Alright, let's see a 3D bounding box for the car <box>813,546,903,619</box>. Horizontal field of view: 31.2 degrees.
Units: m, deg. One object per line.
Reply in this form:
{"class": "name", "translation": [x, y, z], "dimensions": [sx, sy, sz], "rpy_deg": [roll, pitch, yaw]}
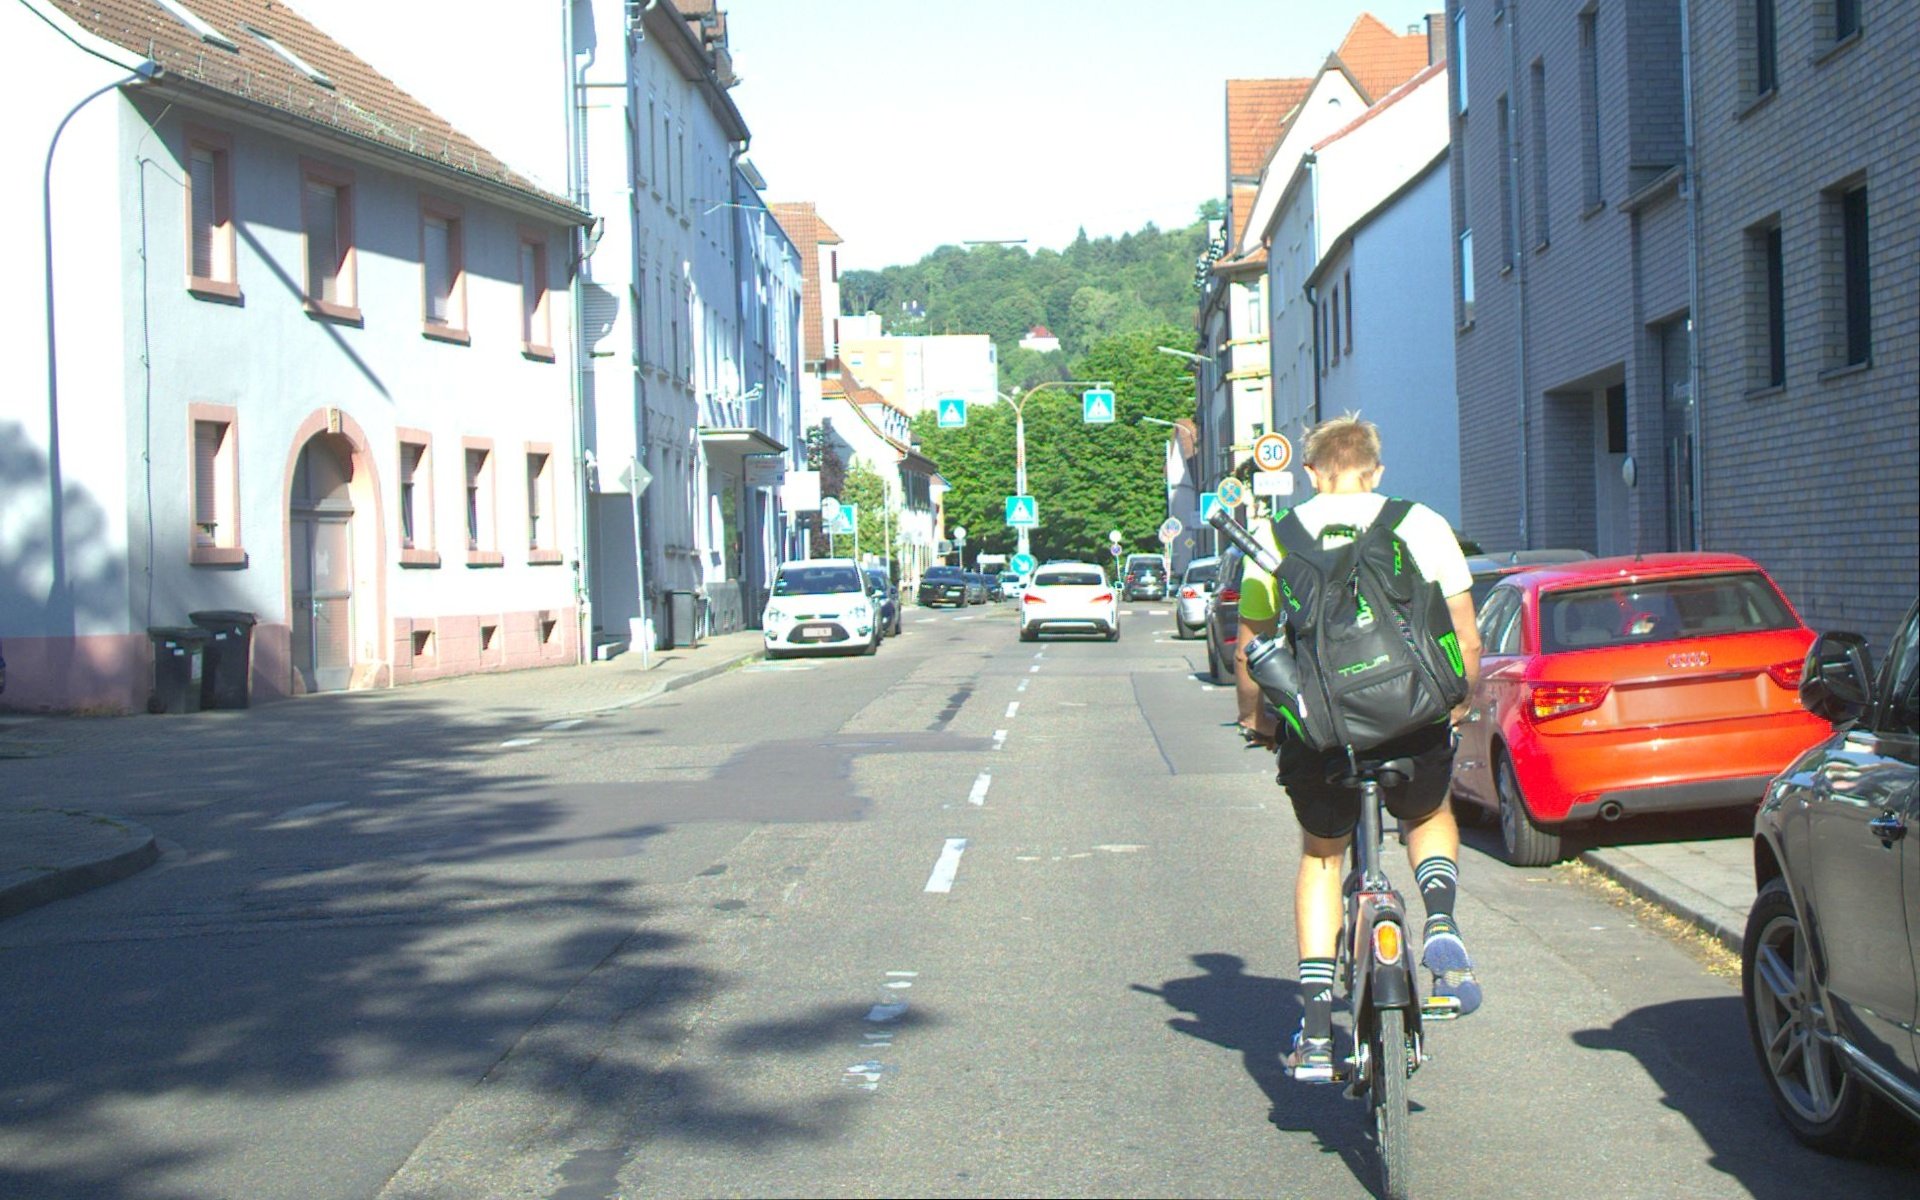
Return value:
{"class": "car", "translation": [-2.198, -0.377, 74.828], "dimensions": [1.731, 1.494, 3.959], "rpy_deg": [-2, 0, 1]}

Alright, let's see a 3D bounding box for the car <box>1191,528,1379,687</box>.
{"class": "car", "translation": [3.789, 0.039, 40.780], "dimensions": [1.855, 1.630, 4.623], "rpy_deg": [-4, 1, 2]}

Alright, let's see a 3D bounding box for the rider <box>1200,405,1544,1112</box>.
{"class": "rider", "translation": [0.953, 0.355, 8.179], "dimensions": [0.653, 1.556, 1.083], "rpy_deg": [1, -1, 0]}

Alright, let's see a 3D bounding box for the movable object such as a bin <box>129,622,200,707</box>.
{"class": "movable object such as a bin", "translation": [-8.402, 0.680, 36.315], "dimensions": [0.598, 0.869, 0.606], "rpy_deg": [-1, 1, 0]}

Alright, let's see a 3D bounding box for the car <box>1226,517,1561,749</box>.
{"class": "car", "translation": [3.403, 0.186, 27.873], "dimensions": [1.993, 1.647, 4.763], "rpy_deg": [-2, 1, -1]}

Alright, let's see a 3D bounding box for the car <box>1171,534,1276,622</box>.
{"class": "car", "translation": [4.881, -0.433, 64.141], "dimensions": [1.741, 1.487, 4.438], "rpy_deg": [-3, 1, 3]}

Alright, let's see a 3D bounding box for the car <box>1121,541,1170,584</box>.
{"class": "car", "translation": [7.576, -1.539, 140.217], "dimensions": [1.818, 1.625, 4.000], "rpy_deg": [-3, 1, 4]}

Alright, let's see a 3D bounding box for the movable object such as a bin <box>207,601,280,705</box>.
{"class": "movable object such as a bin", "translation": [-7.731, 0.566, 37.122], "dimensions": [0.598, 1.090, 0.751], "rpy_deg": [-1, 1, 2]}

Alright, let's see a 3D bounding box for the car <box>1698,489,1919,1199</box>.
{"class": "car", "translation": [2.811, 0.601, 7.190], "dimensions": [1.890, 1.706, 4.773], "rpy_deg": [-2, 1, 5]}

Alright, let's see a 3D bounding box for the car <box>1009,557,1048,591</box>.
{"class": "car", "translation": [3.708, -1.416, 186.565], "dimensions": [1.807, 1.695, 4.192], "rpy_deg": [-4, 1, -2]}

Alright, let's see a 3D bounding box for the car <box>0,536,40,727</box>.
{"class": "car", "translation": [-11.477, 0.263, 33.639], "dimensions": [4.363, 1.788, 1.988], "rpy_deg": [2, 3, 3]}

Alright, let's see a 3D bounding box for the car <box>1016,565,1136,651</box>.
{"class": "car", "translation": [2.089, 0.117, 63.026], "dimensions": [1.993, 1.461, 4.000], "rpy_deg": [-2, 1, 0]}

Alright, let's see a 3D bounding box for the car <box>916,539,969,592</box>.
{"class": "car", "translation": [-0.664, -1.372, 134.735], "dimensions": [1.993, 2.007, 4.000], "rpy_deg": [-1, 1, 0]}

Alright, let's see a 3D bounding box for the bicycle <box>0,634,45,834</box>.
{"class": "bicycle", "translation": [-5.261, 0.699, 17.190], "dimensions": [0.704, 0.999, 1.941], "rpy_deg": [-1, 1, 5]}

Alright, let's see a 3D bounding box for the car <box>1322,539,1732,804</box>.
{"class": "car", "translation": [3.623, 0.392, 22.759], "dimensions": [1.993, 1.500, 4.367], "rpy_deg": [-2, 1, 1]}

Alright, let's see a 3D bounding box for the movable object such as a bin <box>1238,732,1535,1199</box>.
{"class": "movable object such as a bin", "translation": [0.985, 0.863, 8.269], "dimensions": [0.454, 1.029, 1.840], "rpy_deg": [1, -1, 0]}

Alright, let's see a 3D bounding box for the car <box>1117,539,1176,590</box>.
{"class": "car", "translation": [6.974, -1.335, 128.871], "dimensions": [2.011, 1.846, 4.000], "rpy_deg": [-1, 1, 1]}

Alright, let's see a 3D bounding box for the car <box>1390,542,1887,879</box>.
{"class": "car", "translation": [3.373, 0.477, 17.842], "dimensions": [1.712, 1.399, 4.073], "rpy_deg": [-5, 1, 1]}

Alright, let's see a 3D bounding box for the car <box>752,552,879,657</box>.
{"class": "car", "translation": [-2.400, 0.031, 58.286], "dimensions": [1.993, 1.642, 5.222], "rpy_deg": [-1, 1, -1]}
